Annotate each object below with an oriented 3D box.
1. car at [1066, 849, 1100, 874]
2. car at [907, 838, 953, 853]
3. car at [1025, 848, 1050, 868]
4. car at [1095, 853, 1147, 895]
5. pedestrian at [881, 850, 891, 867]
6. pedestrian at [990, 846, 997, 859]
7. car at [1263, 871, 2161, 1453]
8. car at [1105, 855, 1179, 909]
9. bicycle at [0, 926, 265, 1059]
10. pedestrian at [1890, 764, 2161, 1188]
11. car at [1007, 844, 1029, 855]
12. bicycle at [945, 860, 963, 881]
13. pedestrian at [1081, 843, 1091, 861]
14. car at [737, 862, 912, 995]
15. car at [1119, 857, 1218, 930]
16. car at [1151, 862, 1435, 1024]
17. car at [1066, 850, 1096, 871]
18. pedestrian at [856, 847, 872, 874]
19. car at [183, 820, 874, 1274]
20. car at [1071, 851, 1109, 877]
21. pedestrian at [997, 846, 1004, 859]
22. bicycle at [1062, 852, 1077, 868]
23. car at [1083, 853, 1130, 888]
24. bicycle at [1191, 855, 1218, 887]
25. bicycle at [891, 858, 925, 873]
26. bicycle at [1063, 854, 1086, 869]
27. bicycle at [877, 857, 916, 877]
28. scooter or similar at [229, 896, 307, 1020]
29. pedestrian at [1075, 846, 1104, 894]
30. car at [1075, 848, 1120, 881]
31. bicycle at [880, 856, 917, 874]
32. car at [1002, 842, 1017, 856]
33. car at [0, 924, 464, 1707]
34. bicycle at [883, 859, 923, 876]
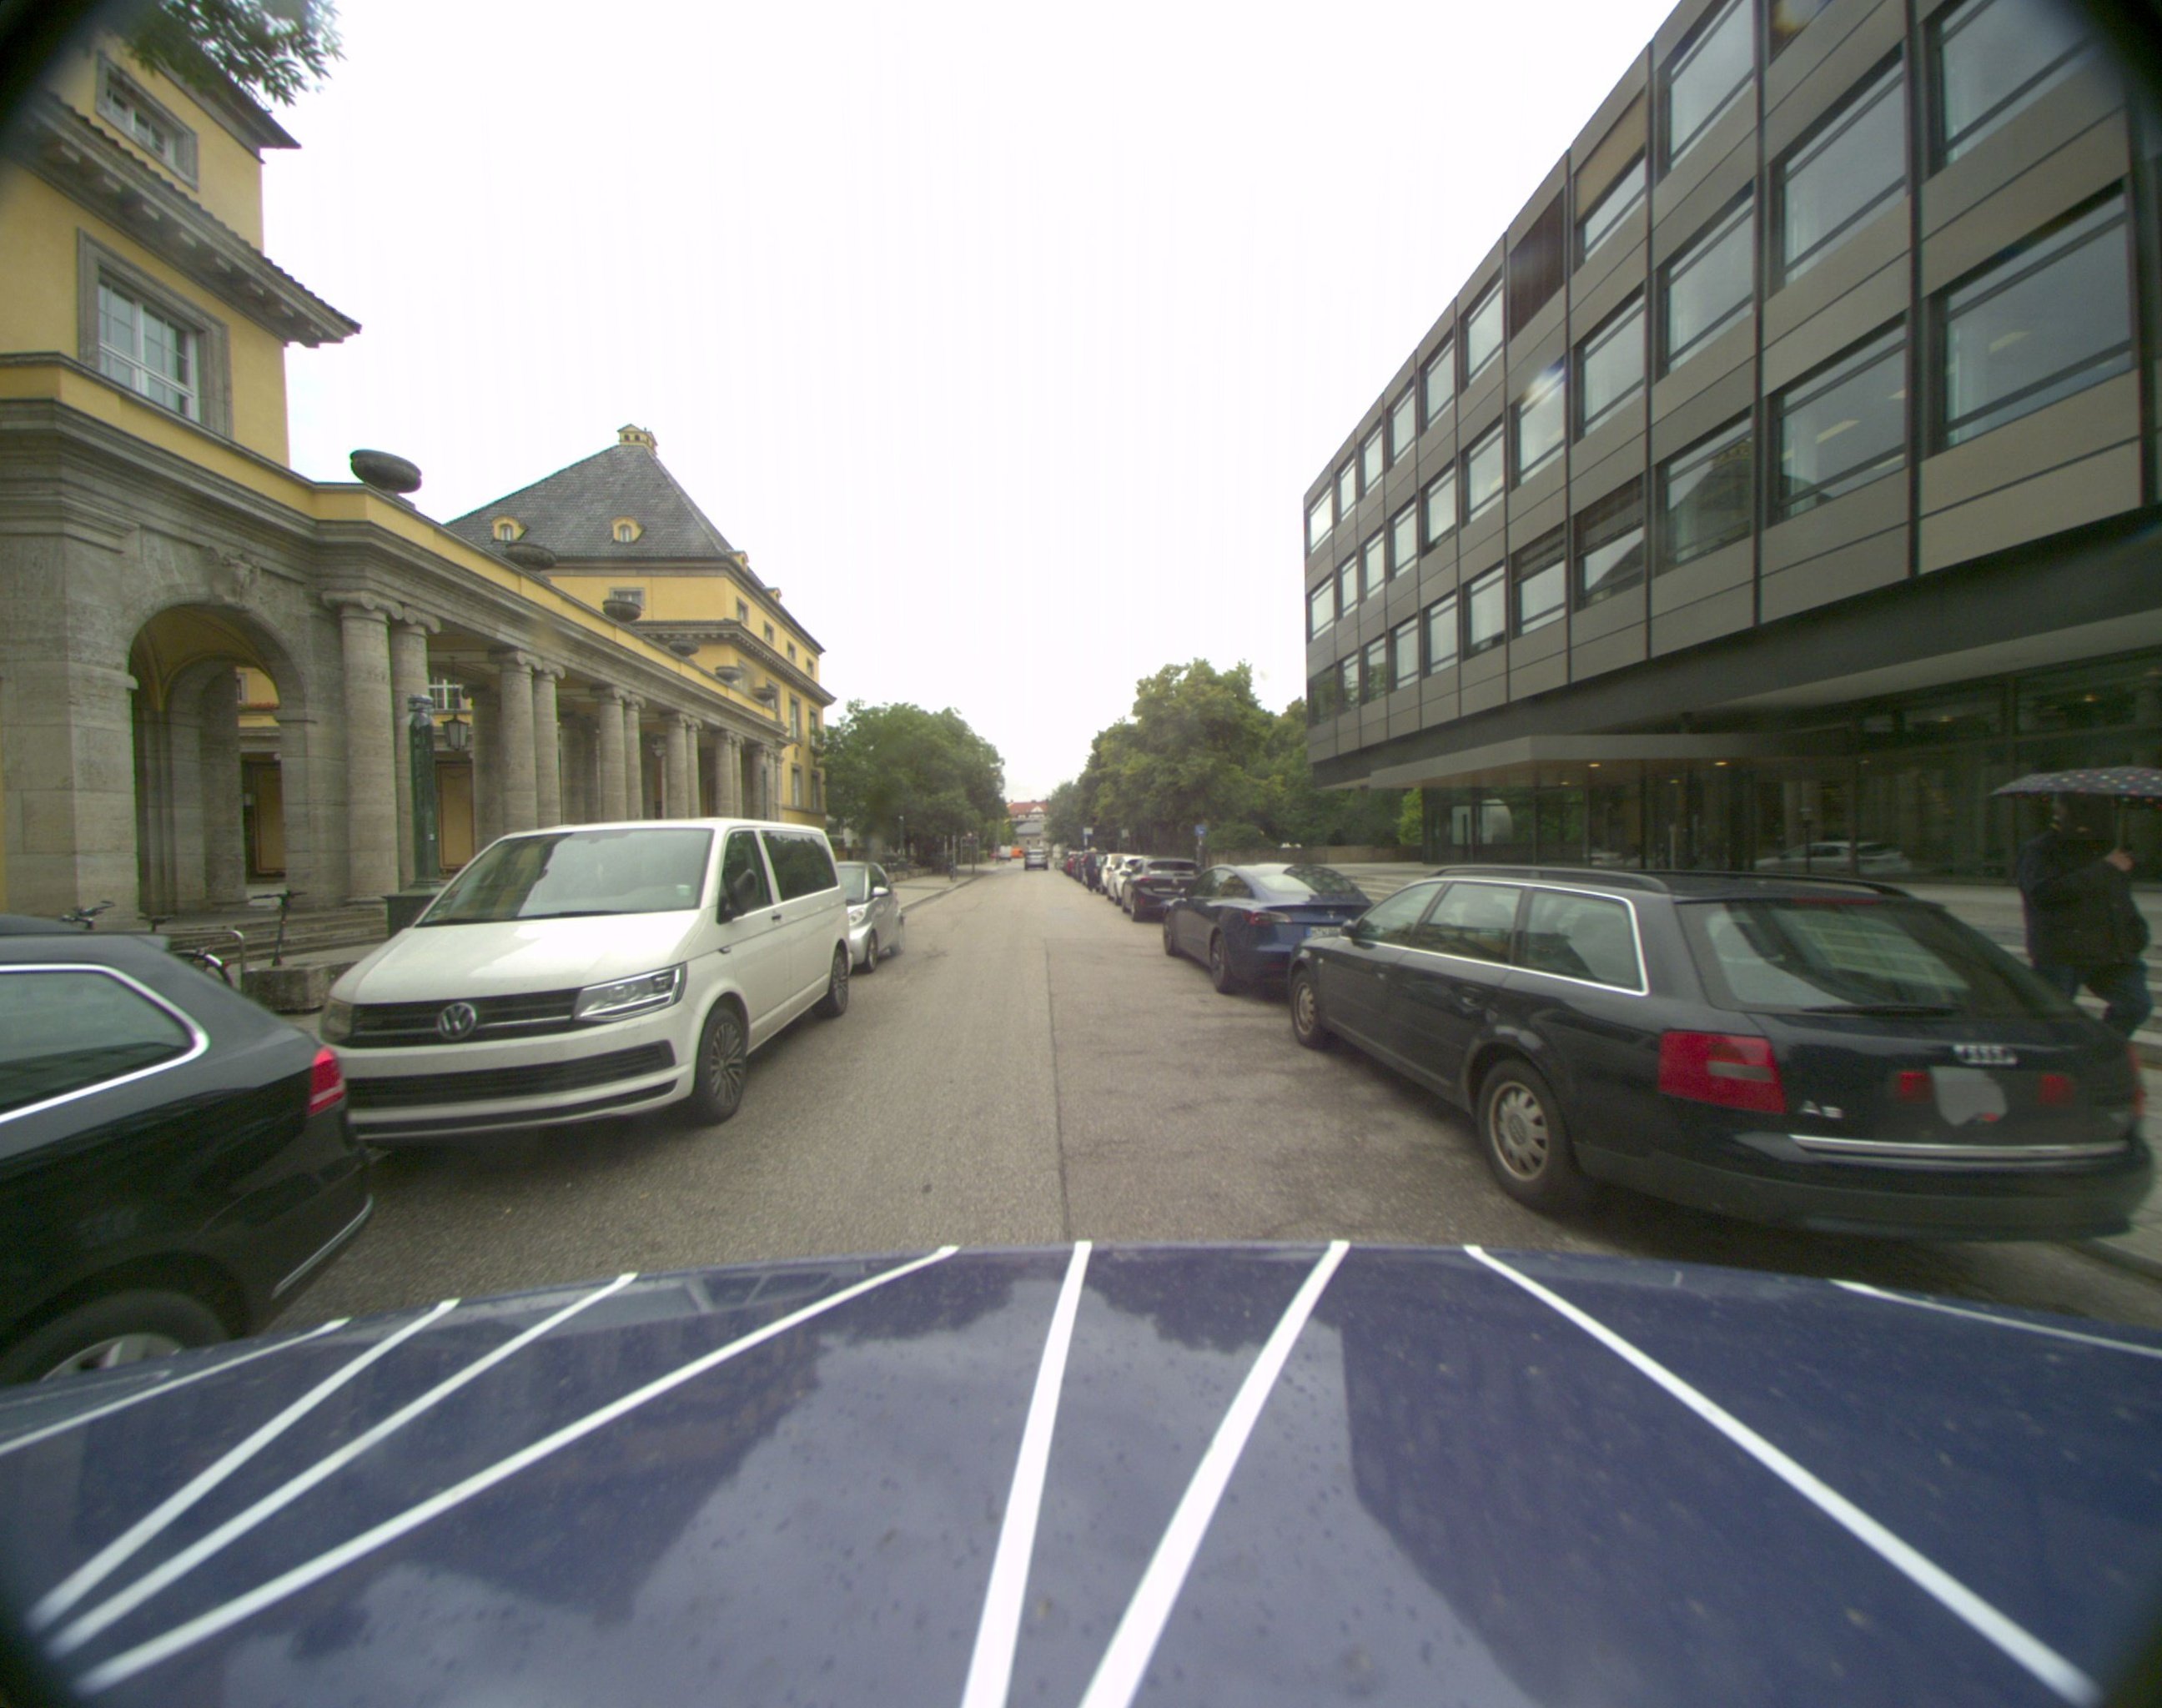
[{"bbox_3d":[0.099,0.446,50.111,1.999,1.535,4.362,-1,1,-2],"label":"car"},{"bbox_3d":[-17.145,-0.947,86.343,4.910,1.672,1.965,-1,1,-6],"label":"car"},{"bbox_3d":[-3.686,0.303,65.755,2.030,1.679,4.676,-1,1,-2],"label":"car"},{"bbox_3d":[1.444,0.702,28.738,1.548,1.462,3.551,0,0,-4],"label":"car"},{"bbox_3d":[-21.067,0.463,82.057,0.782,1.854,1.034,1,2,-4],"label":"pedestrian"},{"bbox_3d":[-12.804,-0.196,111.280,0.777,1.855,0.996,-5,2,-11],"label":"pedestrian"},{"bbox_3d":[2.774,0.929,4.619,1.999,1.482,4.881,0,1,-2],"label":"car"},{"bbox_3d":[1.762,0.778,23.180,1.686,1.432,4.277,1,1,-3],"label":"car"},{"bbox_3d":[-8.875,1.258,7.039,1.937,1.107,0.471,0,1,-6],"label":"bicycle"},{"bbox_3d":[5.739,0.582,4.231,1.138,2.043,1.220,0,1,-4],"label":"pedestrian"},{"bbox_3d":[-16.043,-1.158,194.112,4.974,2.521,2.577,-3,2,40],"label":"car"},{"bbox_3d":[-7.170,0.918,43.057,0.762,1.094,2.263,1,1,-4],"label":"bicycle"},{"bbox_3d":[0.509,-0.186,72.775,0.798,1.722,0.660,-4,2,-5],"label":"pedestrian"},{"bbox_3d":[-3.606,0.970,11.188,1.610,1.537,2.932,-4,1,-3],"label":"car"},{"bbox_3d":[1.949,0.846,18.149,1.744,1.452,4.235,1,1,-2],"label":"car"},{"bbox_3d":[2.308,0.894,9.860,1.928,1.431,4.915,0,1,-5],"label":"car"},{"bbox_3d":[-0.046,0.473,56.140,1.999,1.452,4.362,-1,1,-2],"label":"car"},{"bbox_3d":[-14.280,0.393,49.999,0.790,1.736,1.055,-1,1,-4],"label":"pedestrian"},{"bbox_3d":[-3.199,0.846,6.101,1.850,1.922,5.270,-4,1,-4],"label":"car"},{"bbox_3d":[0.486,0.566,45.167,1.999,1.452,4.645,-1,1,-2],"label":"car"},{"bbox_3d":[-11.846,-0.267,111.502,0.777,1.855,0.996,-4,2,-10],"label":"pedestrian"},{"bbox_3d":[-0.983,0.513,63.471,0.574,1.275,1.421,-2,1,29],"label":"bicycle"},{"bbox_3d":[1.075,0.697,33.820,1.763,1.392,4.216,2,0,-2],"label":"car"},{"bbox_3d":[4.792,0.653,29.561,0.644,1.158,1.526,-4,1,-5],"label":"bicycle"},{"bbox_3d":[-12.002,0.795,52.768,2.262,1.005,0.602,1,0,-1],"label":"bicycle"},{"bbox_3d":[-0.534,0.594,61.970,1.700,1.101,0.598,-2,1,-12],"label":"bicycle"},{"bbox_3d":[-11.634,0.810,47.934,2.265,1.088,0.601,4,1,-14],"label":"bicycle"},{"bbox_3d":[-8.916,1.098,8.327,1.009,1.215,0.539,0,1,42],"label":"scooter or similar"},{"bbox_3d":[0.307,0.590,27.983,0.893,1.742,0.689,1,1,-12],"label":"pedestrian"},{"bbox_3d":[0.799,0.497,39.748,1.999,1.574,4.520,-1,1,-4],"label":"car"},{"bbox_3d":[-11.930,0.705,49.699,2.265,1.053,0.601,4,1,-14],"label":"bicycle"},{"bbox_3d":[-12.396,-0.930,131.377,2.237,2.289,4.726,-4,2,-9],"label":"car"},{"bbox_3d":[-2.888,1.057,0.133,1.776,1.481,4.970,-4,1,-6],"label":"car"},{"bbox_3d":[-10.970,0.858,46.789,2.371,1.000,0.677,1,0,-12],"label":"bicycle"}]
